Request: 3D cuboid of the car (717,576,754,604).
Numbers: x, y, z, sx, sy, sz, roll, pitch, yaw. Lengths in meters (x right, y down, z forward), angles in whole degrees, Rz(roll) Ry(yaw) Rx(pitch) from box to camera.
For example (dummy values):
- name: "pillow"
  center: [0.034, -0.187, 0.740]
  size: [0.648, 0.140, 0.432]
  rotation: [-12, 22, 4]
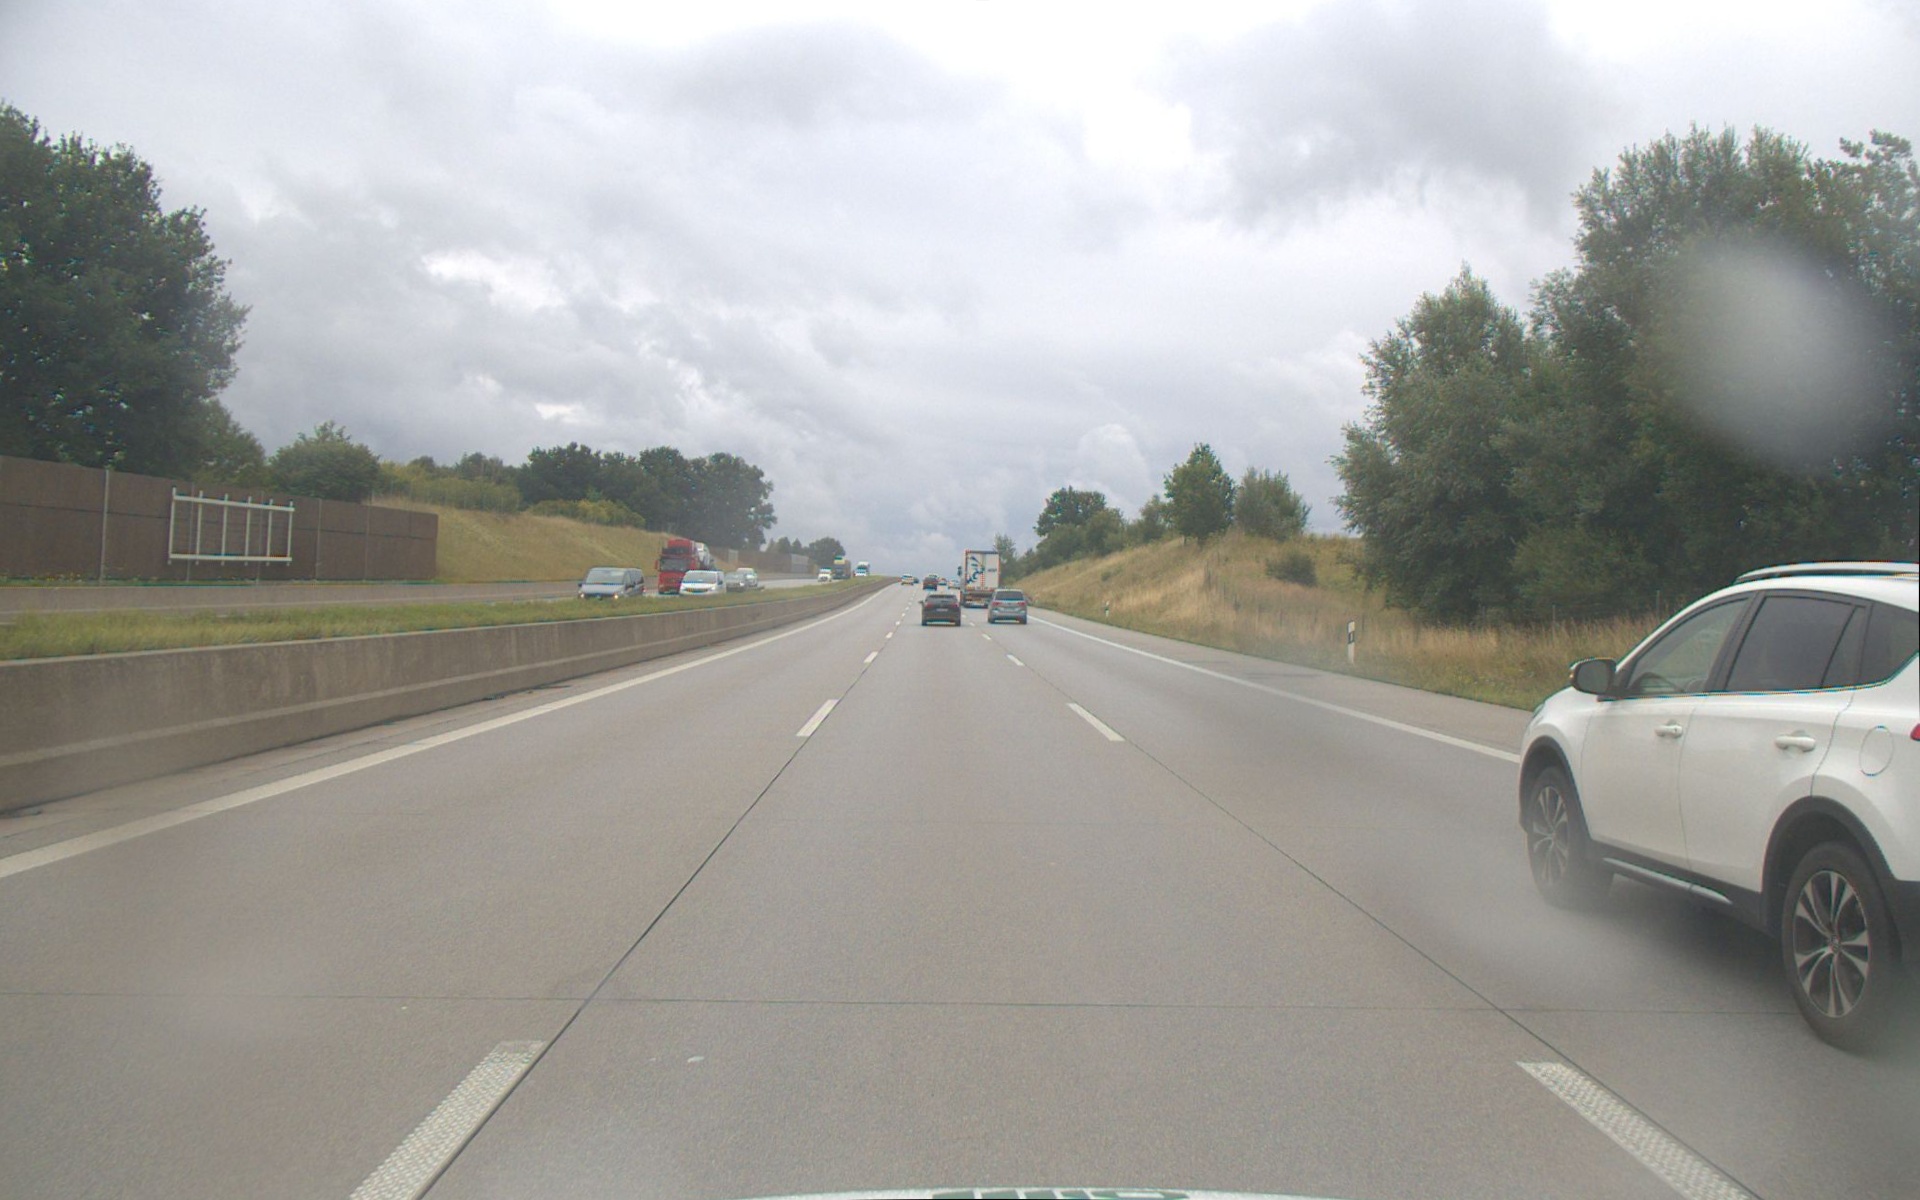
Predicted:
- name: "car"
  center: [-16.866, -0.744, 124.410]
  size: [2.105, 2.049, 5.747]
  rotation: [1, 0, -1]

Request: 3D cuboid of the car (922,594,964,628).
- name: "car"
  center: [-0.777, 0.481, 73.306]
  size: [1.717, 1.422, 4.482]
  rotation: [1, -1, -2]

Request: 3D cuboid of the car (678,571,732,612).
- name: "car"
  center: [-12.642, -0.439, 82.303]
  size: [1.953, 1.919, 5.511]
  rotation: [1, 0, -2]

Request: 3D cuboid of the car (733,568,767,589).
- name: "car"
  center: [-16.812, -1.719, 132.831]
  size: [2.105, 1.578, 5.349]
  rotation: [1, 1, -1]

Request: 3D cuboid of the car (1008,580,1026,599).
- name: "car"
  center: [6.409, -1.216, 187.893]
  size: [1.952, 2.049, 4.000]
  rotation: [1, 0, 1]

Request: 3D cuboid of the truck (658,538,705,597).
- name: "truck"
  center: [-21.217, -2.414, 126.281]
  size: [2.501, 4.326, 7.461]
  rotation: [1, 0, -2]

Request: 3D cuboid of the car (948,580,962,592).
- name: "car"
  center: [-0.684, -2.081, 243.914]
  size: [1.952, 1.668, 4.000]
  rotation: [1, 0, 1]

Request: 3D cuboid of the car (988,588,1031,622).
- name: "car"
  center: [2.360, 0.244, 79.365]
  size: [1.952, 1.557, 4.000]
  rotation: [1, 0, 1]

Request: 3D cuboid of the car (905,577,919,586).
- name: "car"
  center: [-7.198, -2.791, 248.809]
  size: [1.907, 1.379, 4.259]
  rotation: [1, 0, 0]

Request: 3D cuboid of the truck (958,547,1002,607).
- name: "truck"
  center: [1.449, -1.634, 122.377]
  size: [2.956, 4.253, 8.352]
  rotation: [1, 0, -1]

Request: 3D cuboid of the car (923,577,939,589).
- name: "car"
  center: [-3.659, -2.172, 211.600]
  size: [1.895, 1.399, 4.594]
  rotation: [2, -1, 0]

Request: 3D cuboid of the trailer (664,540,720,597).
- name: "trailer"
  center: [-21.386, -2.457, 132.819]
  size: [2.501, 4.291, 13.984]
  rotation: [1, 0, -2]

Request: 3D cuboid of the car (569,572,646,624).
- name: "car"
  center: [-13.891, -0.102, 65.447]
  size: [1.953, 1.953, 5.344]
  rotation: [1, 1, -1]

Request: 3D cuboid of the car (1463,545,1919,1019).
- name: "car"
  center: [3.925, 0.651, 7.901]
  size: [1.788, 1.684, 3.985]
  rotation: [1, 0, 0]
